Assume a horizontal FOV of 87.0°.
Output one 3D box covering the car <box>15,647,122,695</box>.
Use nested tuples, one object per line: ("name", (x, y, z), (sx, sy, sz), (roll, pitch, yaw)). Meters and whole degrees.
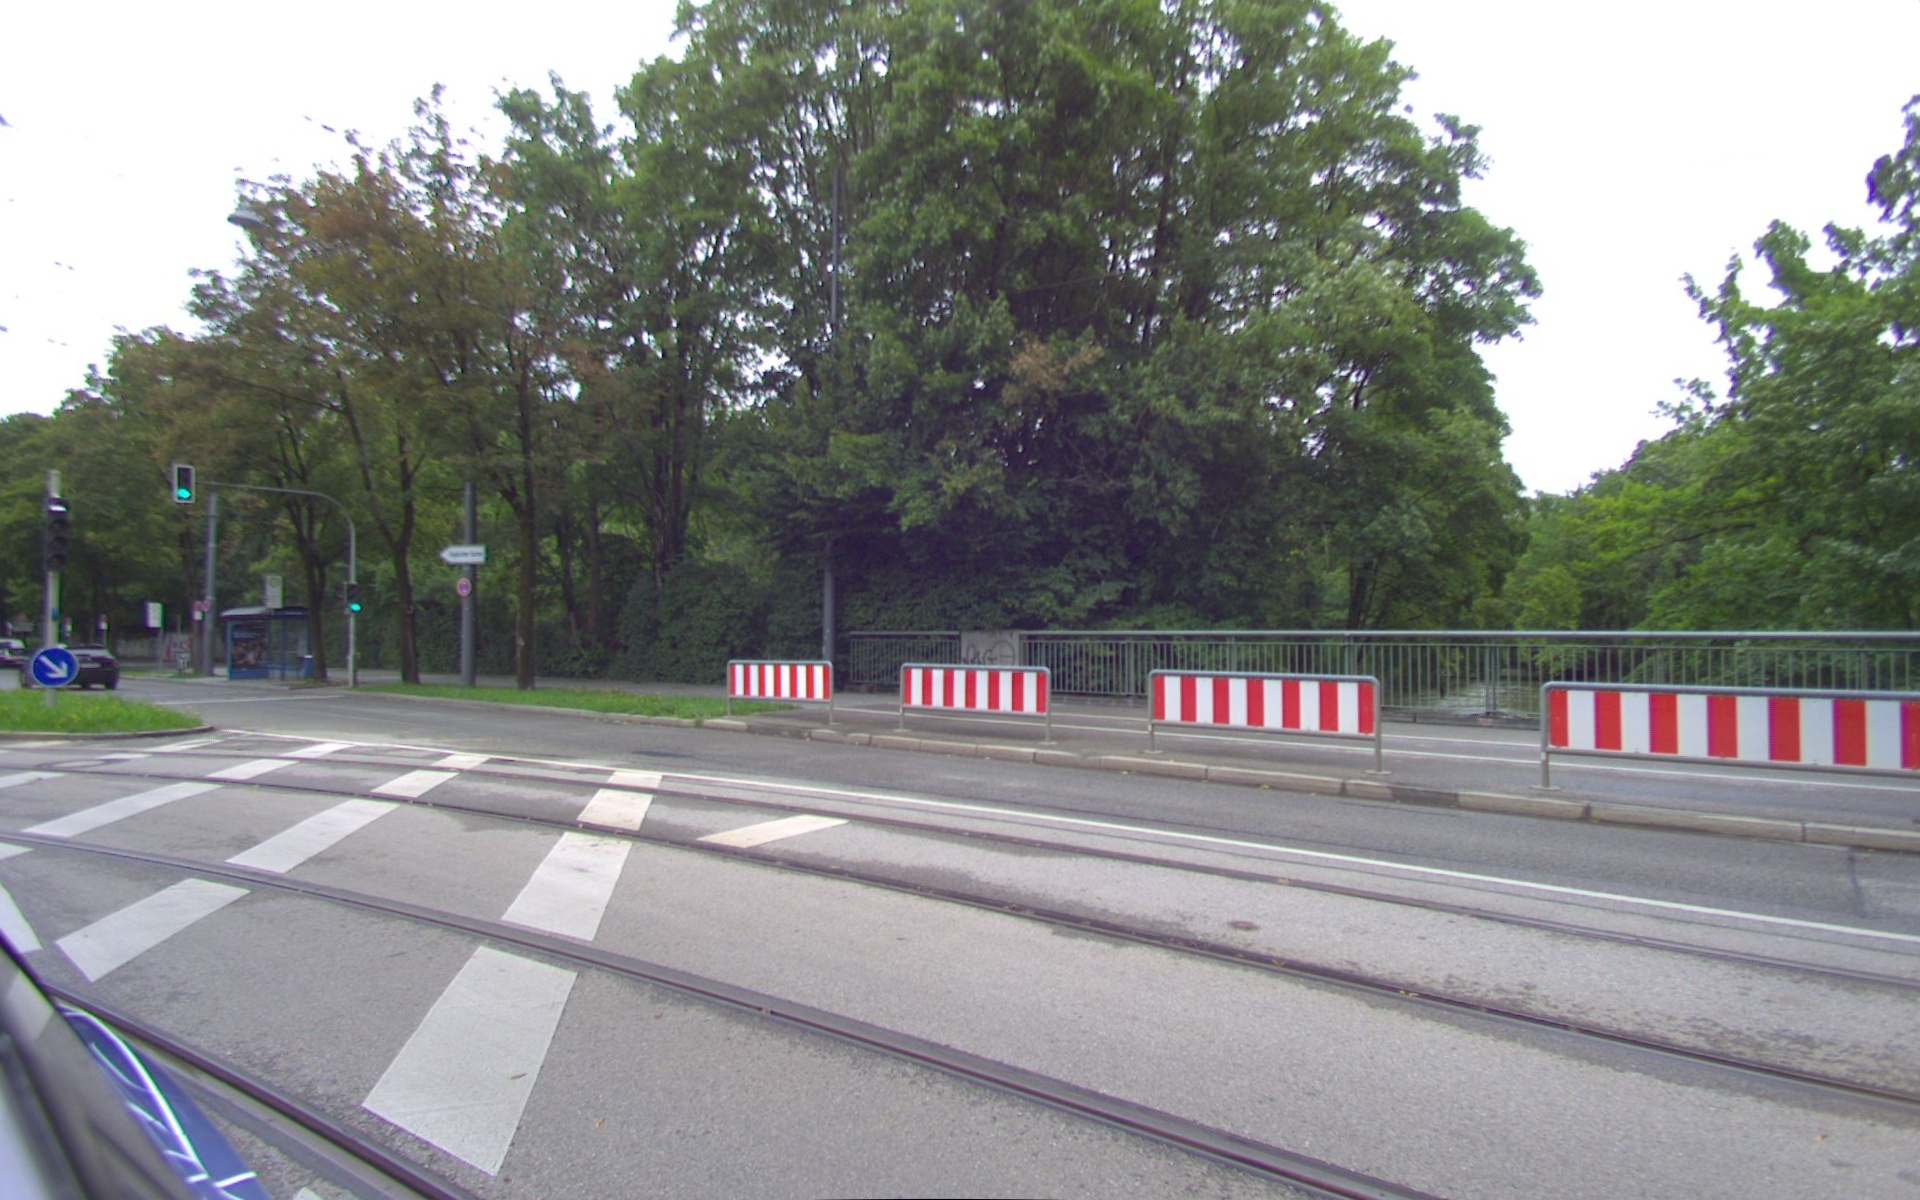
("car", (-28.036, 2.202, 31.770), (4.833, 1.399, 1.608), (-2, -5, 38))

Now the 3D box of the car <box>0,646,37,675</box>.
("car", (-56.821, 3.624, 60.539), (3.996, 1.552, 1.864), (-1, 0, 40))

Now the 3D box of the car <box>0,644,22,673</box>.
("car", (-61.158, 3.713, 64.265), (3.996, 1.739, 1.864), (-1, 0, 40))
